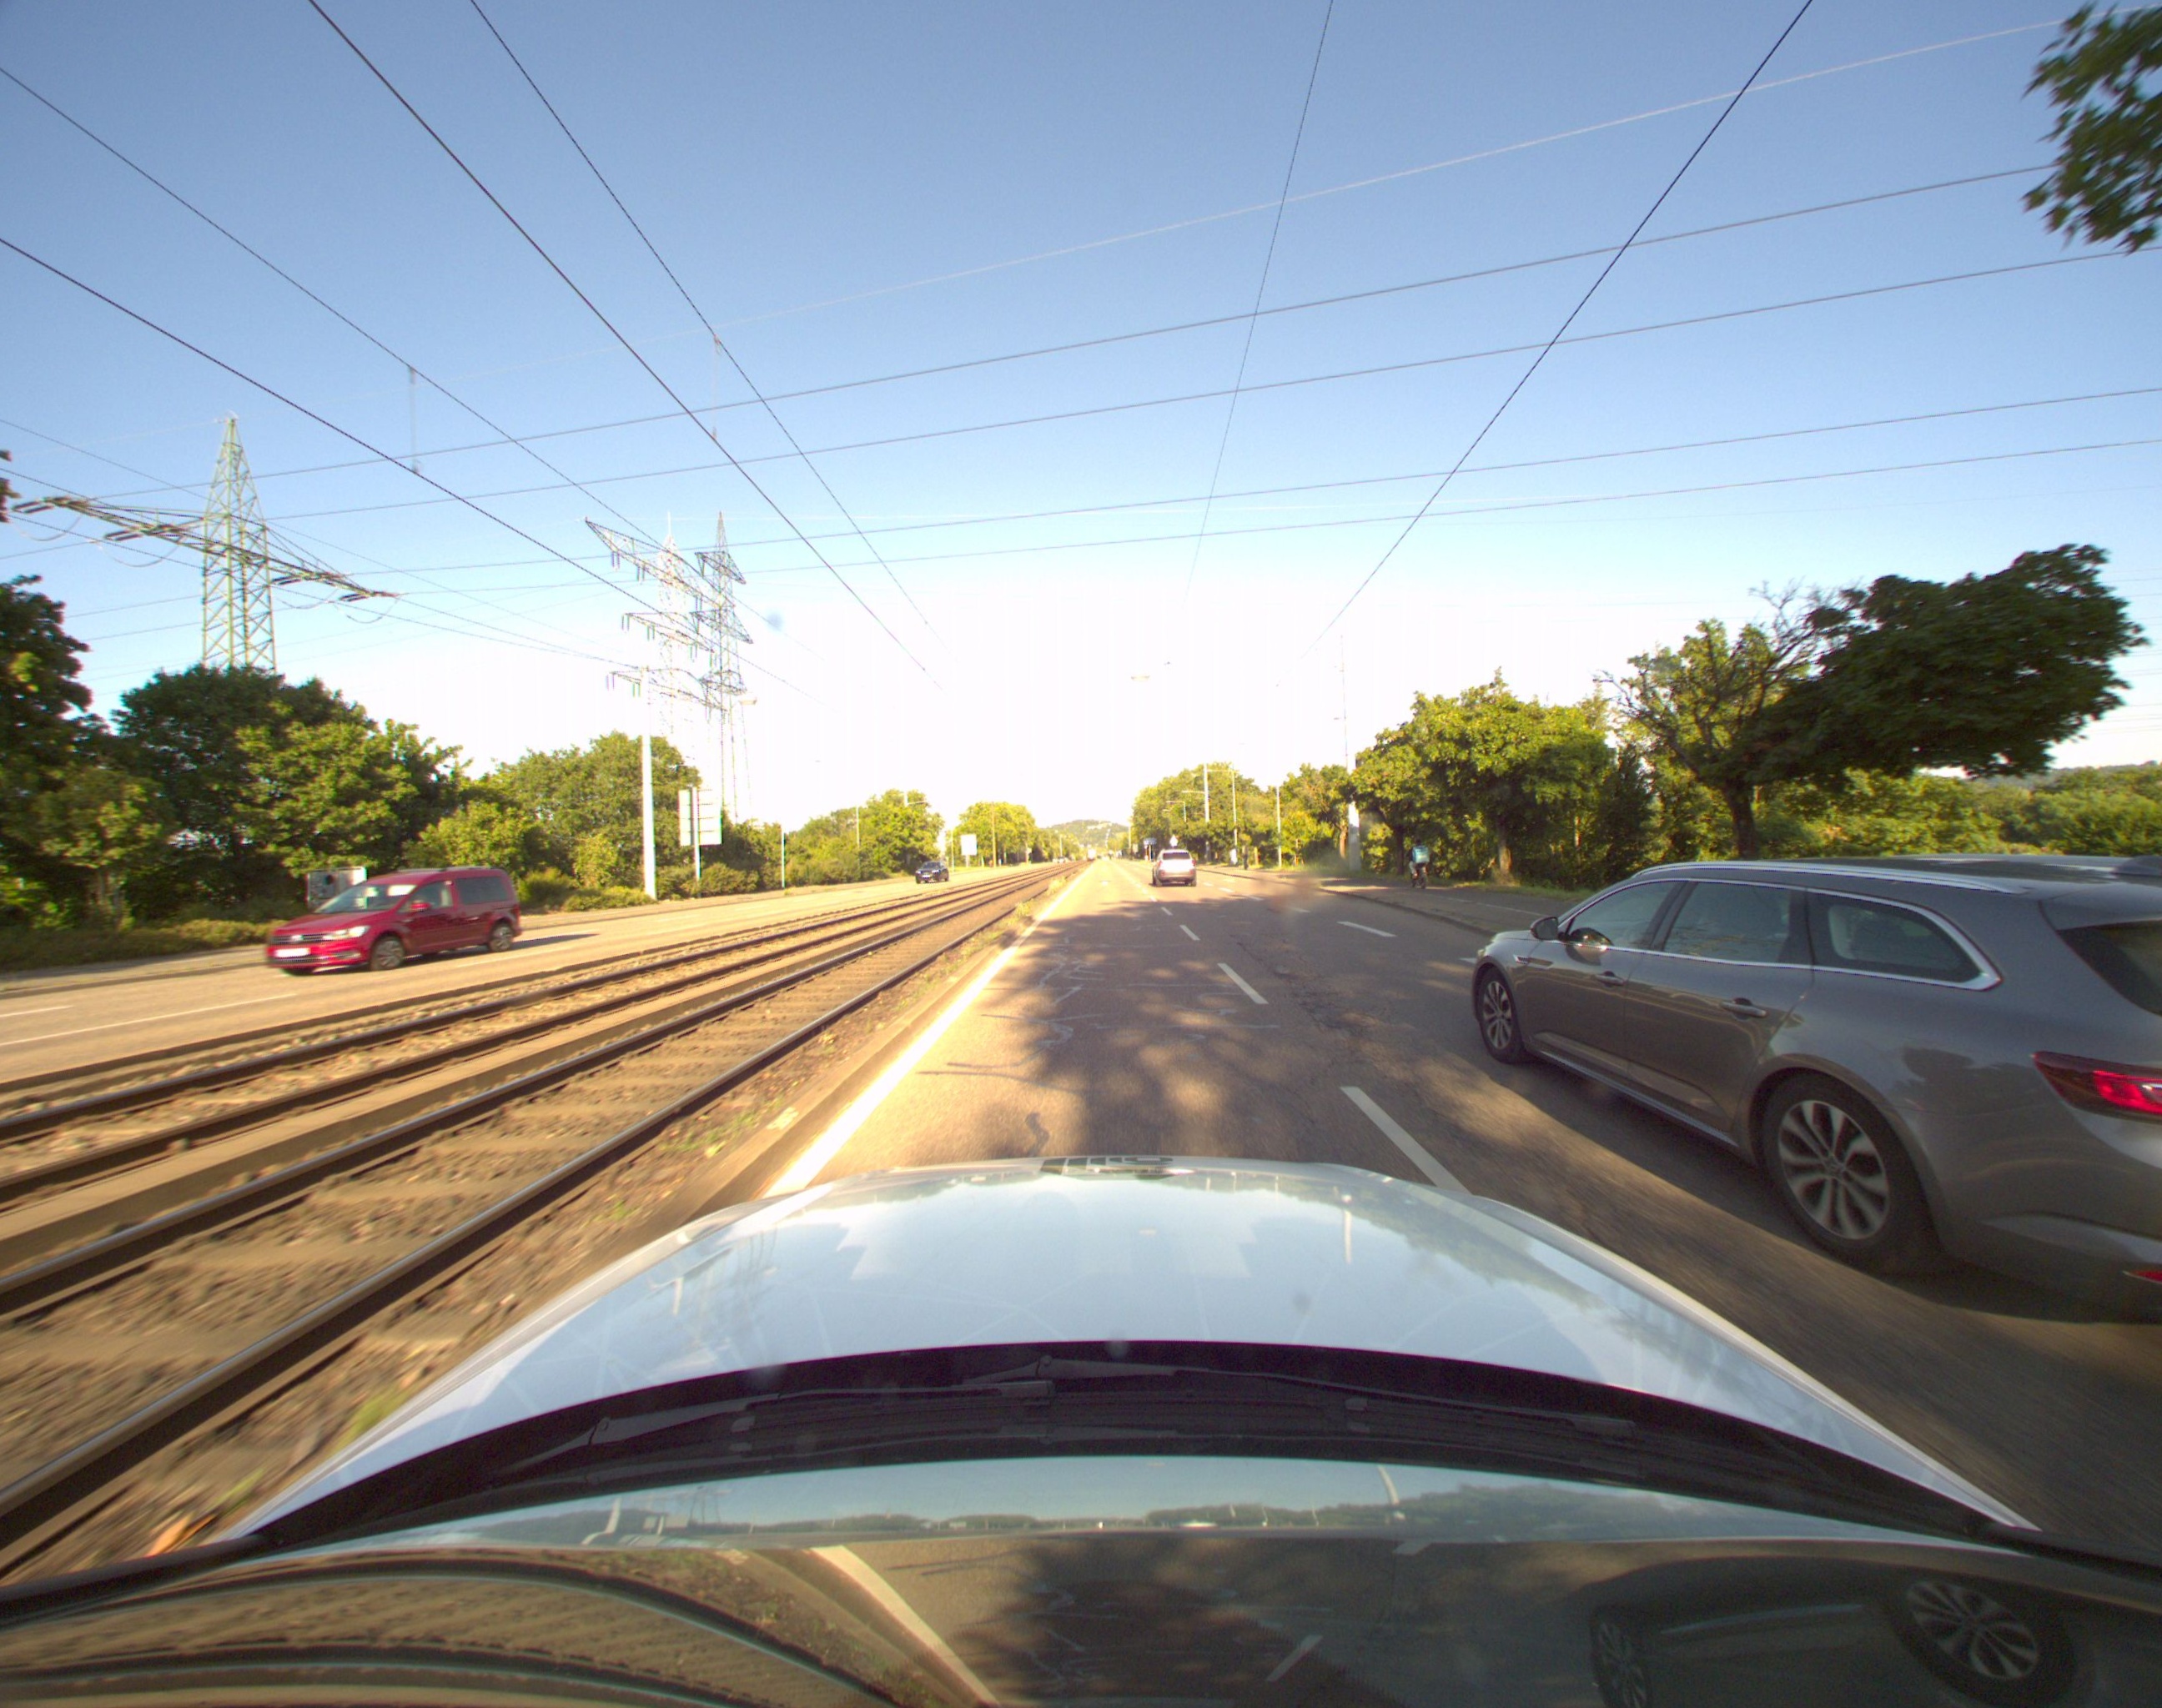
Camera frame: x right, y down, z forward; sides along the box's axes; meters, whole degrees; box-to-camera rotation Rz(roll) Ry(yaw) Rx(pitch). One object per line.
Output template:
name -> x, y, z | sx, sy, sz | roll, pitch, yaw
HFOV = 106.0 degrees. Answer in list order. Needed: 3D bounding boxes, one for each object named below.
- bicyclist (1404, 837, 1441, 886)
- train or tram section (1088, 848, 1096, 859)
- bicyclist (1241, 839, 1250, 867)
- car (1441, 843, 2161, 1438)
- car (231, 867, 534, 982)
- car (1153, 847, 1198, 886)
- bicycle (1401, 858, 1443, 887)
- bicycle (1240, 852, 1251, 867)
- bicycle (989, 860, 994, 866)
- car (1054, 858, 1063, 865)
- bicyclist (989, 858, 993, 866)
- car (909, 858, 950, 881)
bicyclist -> 10.688, 0.233, 25.514 | 0.624, 1.471, 1.061 | -5, -1, 2
train or tram section -> 3.420, -0.027, 249.632 | 2.302, 3.217, 9.478 | 0, -1, 2
bicyclist -> 11.889, -0.060, 58.728 | 0.525, 2.017, 0.730 | 0, -1, 2
car -> 3.716, 0.707, 4.227 | 1.868, 1.443, 4.664 | -1, -1, 4
car -> -13.211, 1.222, 15.873 | 1.986, 1.795, 4.352 | -3, -1, 2
car -> 4.383, 0.594, 38.311 | 1.880, 1.693, 4.260 | -1, -1, 4
bicycle -> 10.737, 0.575, 25.710 | 0.624, 0.834, 1.635 | -5, -1, 2
bicycle -> 11.903, 0.410, 58.976 | 0.525, 1.060, 1.973 | 0, -1, 3
bicycle -> -17.545, 1.760, 159.317 | 0.588, 1.022, 2.186 | -2, -1, 1
car -> -6.186, 2.148, 225.983 | 1.985, 1.923, 4.864 | -3, -1, 3
bicyclist -> -17.546, 1.502, 159.372 | 0.588, 1.528, 0.906 | -2, -1, 1
car -> -11.639, 1.177, 62.990 | 1.985, 1.625, 4.687 | -3, -1, 3
